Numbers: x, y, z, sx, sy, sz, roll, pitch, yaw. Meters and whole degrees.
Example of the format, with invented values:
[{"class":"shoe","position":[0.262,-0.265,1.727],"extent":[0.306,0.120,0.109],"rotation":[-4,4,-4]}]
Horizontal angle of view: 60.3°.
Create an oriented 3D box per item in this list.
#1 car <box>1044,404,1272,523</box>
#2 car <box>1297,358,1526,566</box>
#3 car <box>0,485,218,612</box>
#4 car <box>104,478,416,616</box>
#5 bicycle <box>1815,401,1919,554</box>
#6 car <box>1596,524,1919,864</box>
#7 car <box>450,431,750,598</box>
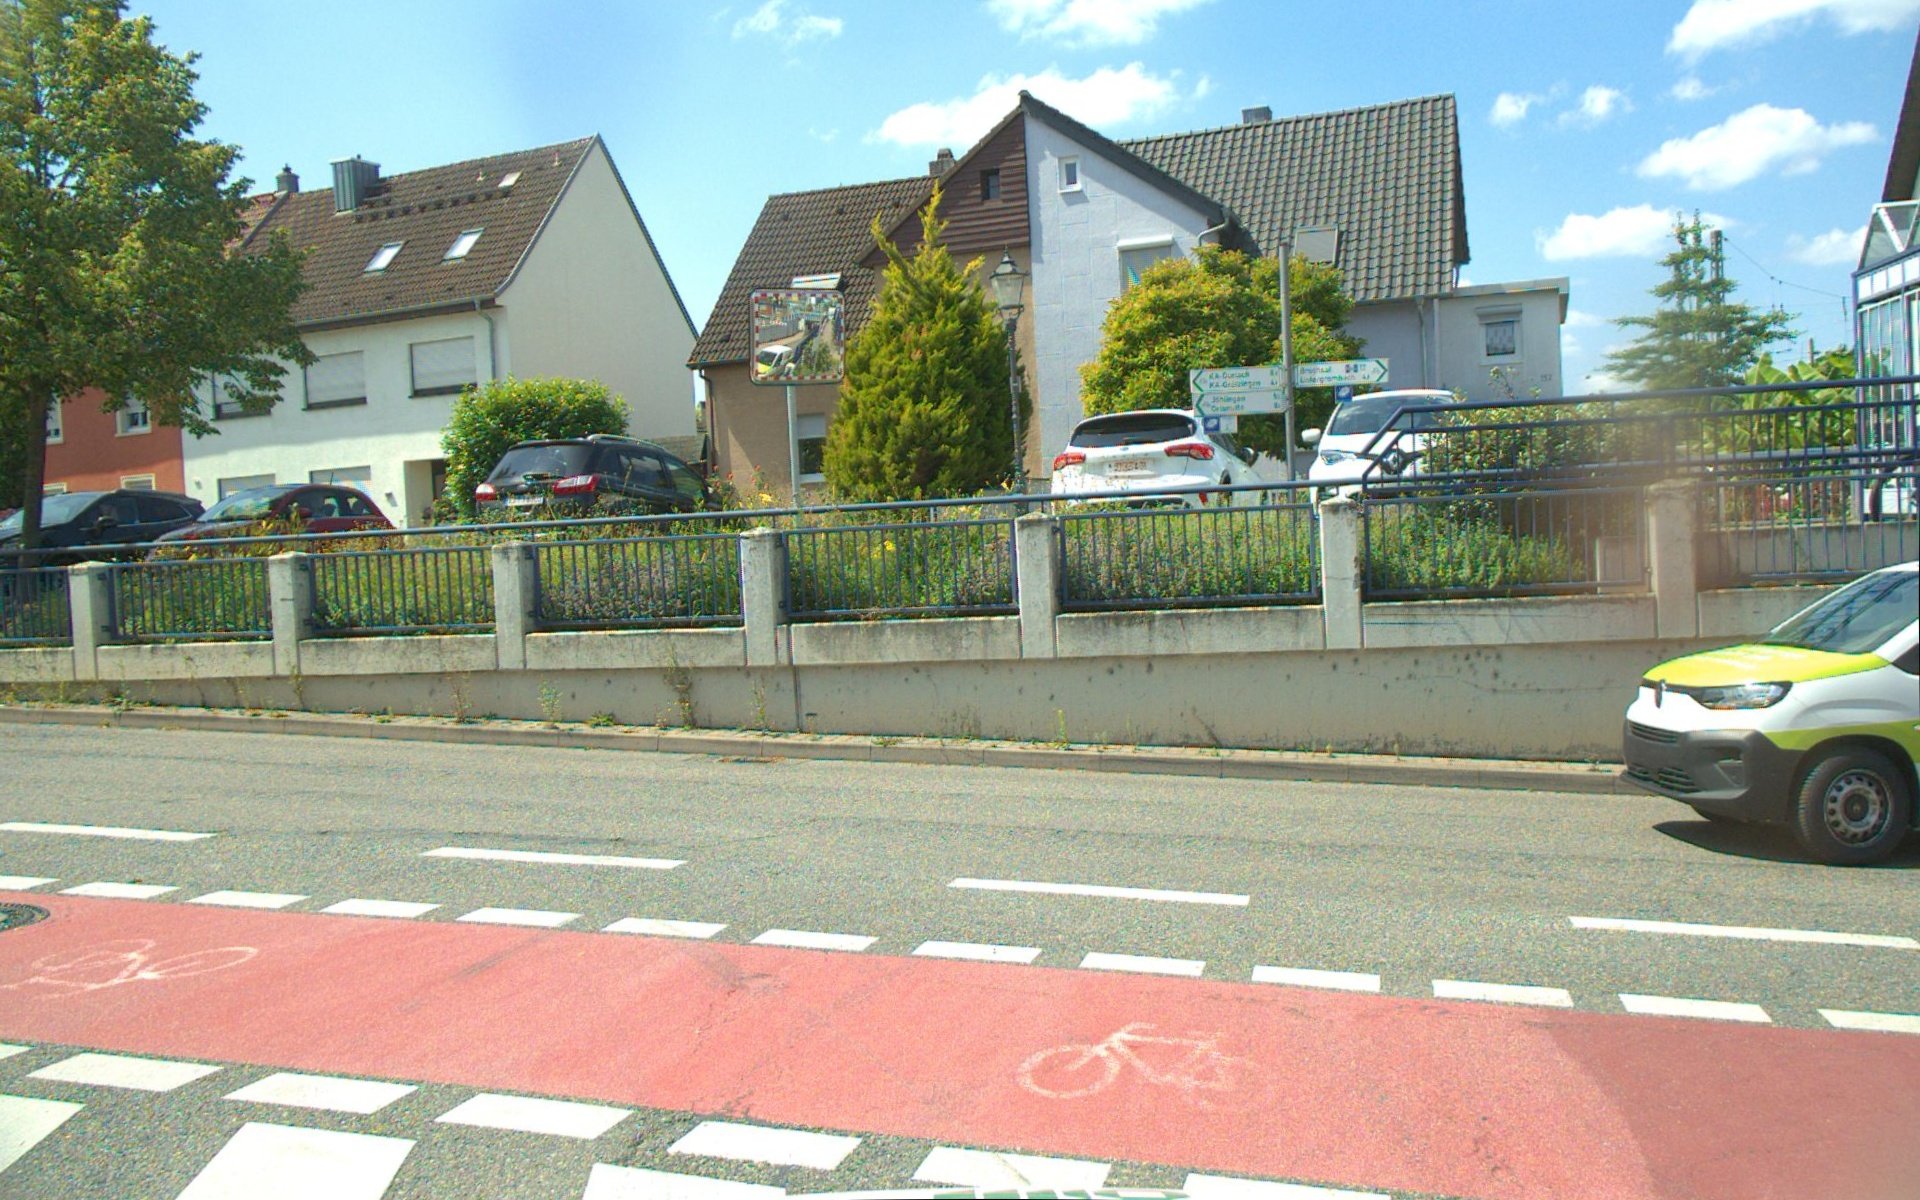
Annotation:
[{"class":"car","position":[2.213,-1.402,17.718],"extent":[1.787,1.037,3.461],"rotation":[2,1,18]},{"class":"car","position":[4.688,-1.286,16.937],"extent":[1.952,1.828,4.199],"rotation":[2,1,18]},{"class":"car","position":[-12.428,-0.710,23.072],"extent":[1.828,1.614,3.612],"rotation":[2,1,18]},{"class":"car","position":[-8.999,-0.675,21.573],"extent":[1.828,1.614,3.612],"rotation":[2,1,18]},{"class":"bicycle","position":[7.745,-0.964,12.694],"extent":[2.069,1.145,0.333],"rotation":[-2,2,12]},{"class":"car","position":[6.503,0.543,10.163],"extent":[4.450,1.887,1.819],"rotation":[1,2,2]},{"class":"car","position":[-4.271,-0.989,20.299],"extent":[1.828,1.828,4.002],"rotation":[2,1,18]}]
